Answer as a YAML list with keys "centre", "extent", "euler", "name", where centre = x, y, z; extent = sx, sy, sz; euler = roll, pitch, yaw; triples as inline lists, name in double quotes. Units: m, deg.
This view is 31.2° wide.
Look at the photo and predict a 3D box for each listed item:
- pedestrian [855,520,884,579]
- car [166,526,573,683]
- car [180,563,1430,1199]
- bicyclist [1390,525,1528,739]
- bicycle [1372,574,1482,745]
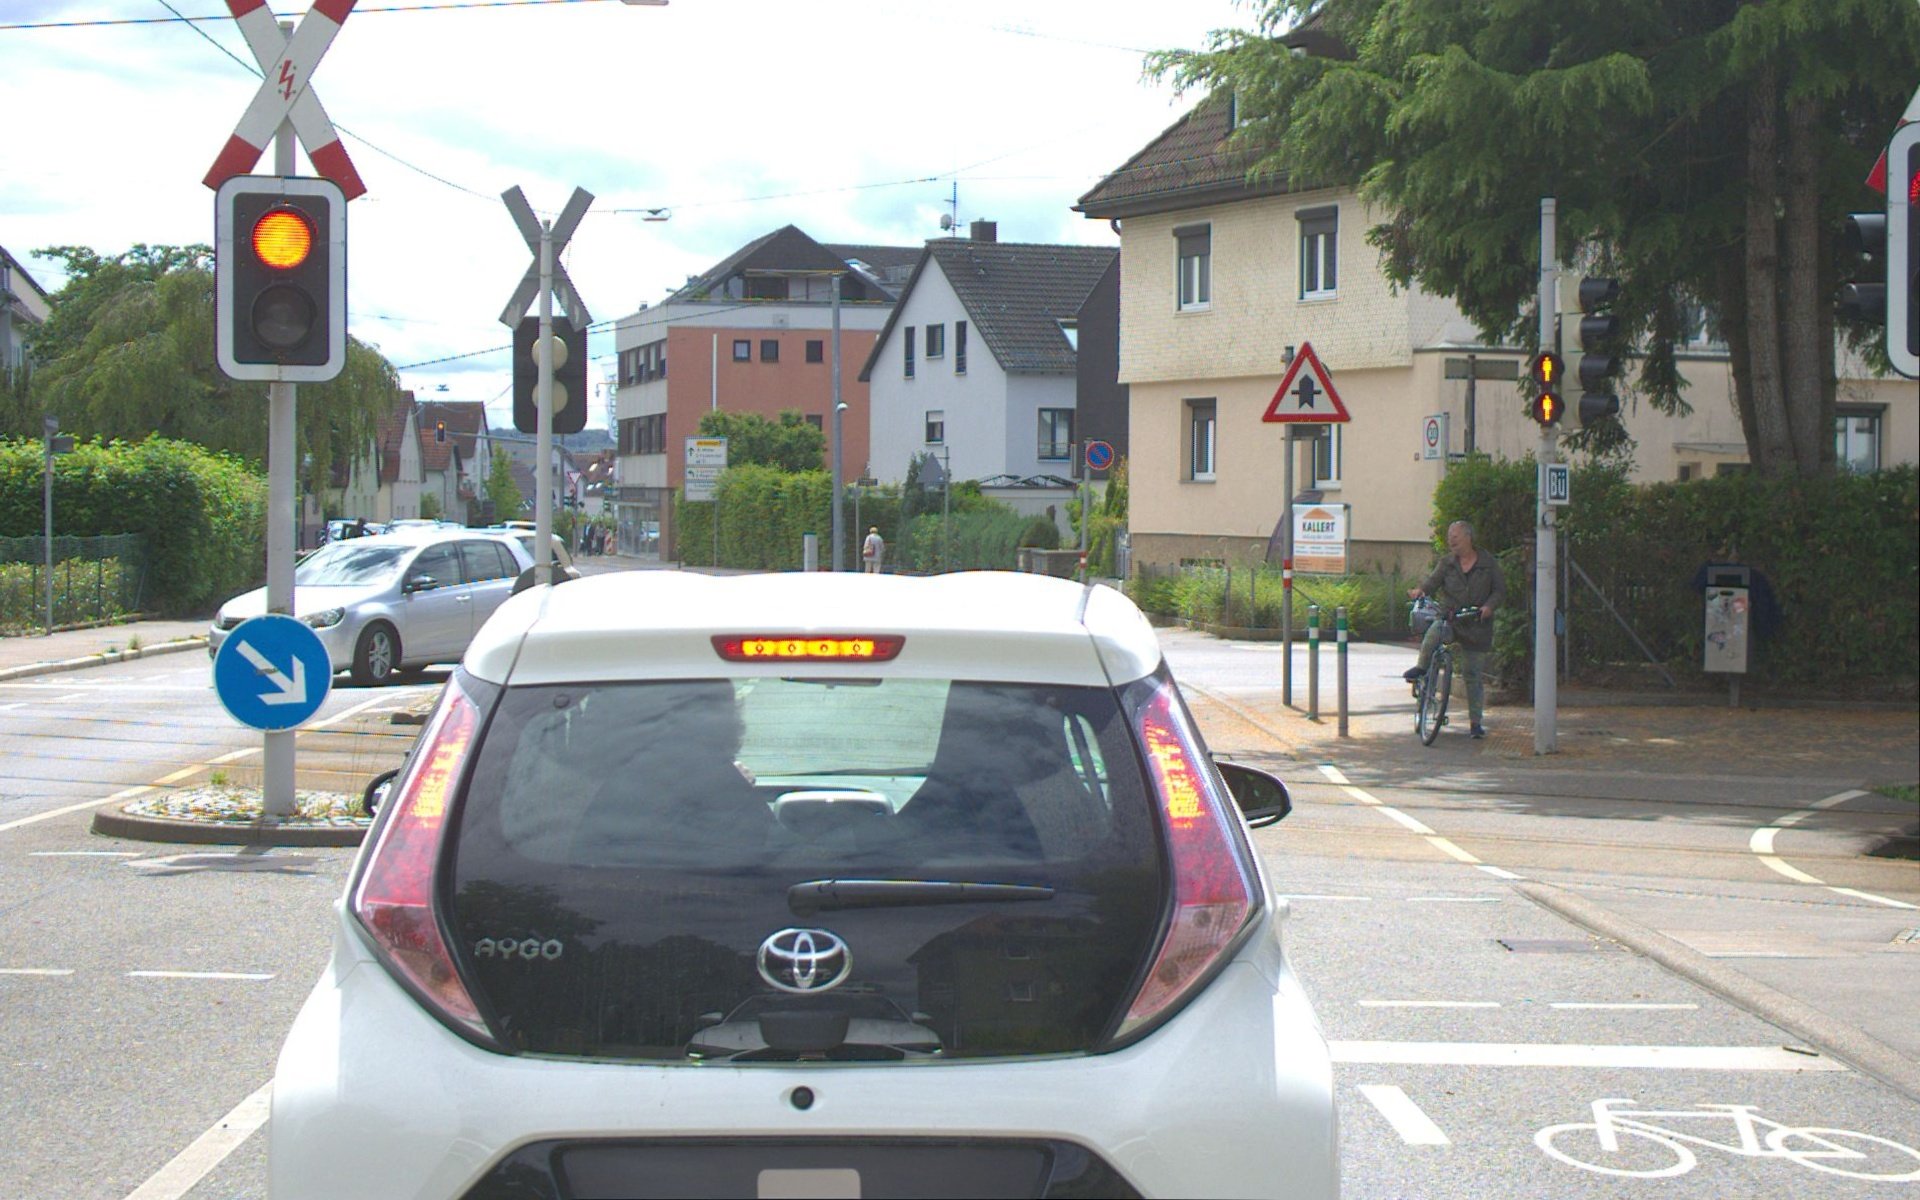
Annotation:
- centre: [-2.443, -1.378, 93.074]
  extent: [0.726, 1.571, 0.803]
  euler: [2, 1, 0]
  name: "pedestrian"
- centre: [-5.852, 0.031, 34.541]
  extent: [1.908, 1.436, 4.092]
  euler: [2, 1, 28]
  name: "car"
- centre: [-0.337, 0.673, 6.617]
  extent: [1.721, 1.437, 3.709]
  euler: [1, 1, -4]
  name: "car"
- centre: [3.787, 0.233, 26.137]
  extent: [0.840, 1.548, 0.756]
  euler: [-2, 3, -6]
  name: "bicyclist"
- centre: [3.544, 0.436, 26.157]
  extent: [0.457, 1.168, 1.480]
  euler: [-2, 4, -6]
  name: "bicycle"
